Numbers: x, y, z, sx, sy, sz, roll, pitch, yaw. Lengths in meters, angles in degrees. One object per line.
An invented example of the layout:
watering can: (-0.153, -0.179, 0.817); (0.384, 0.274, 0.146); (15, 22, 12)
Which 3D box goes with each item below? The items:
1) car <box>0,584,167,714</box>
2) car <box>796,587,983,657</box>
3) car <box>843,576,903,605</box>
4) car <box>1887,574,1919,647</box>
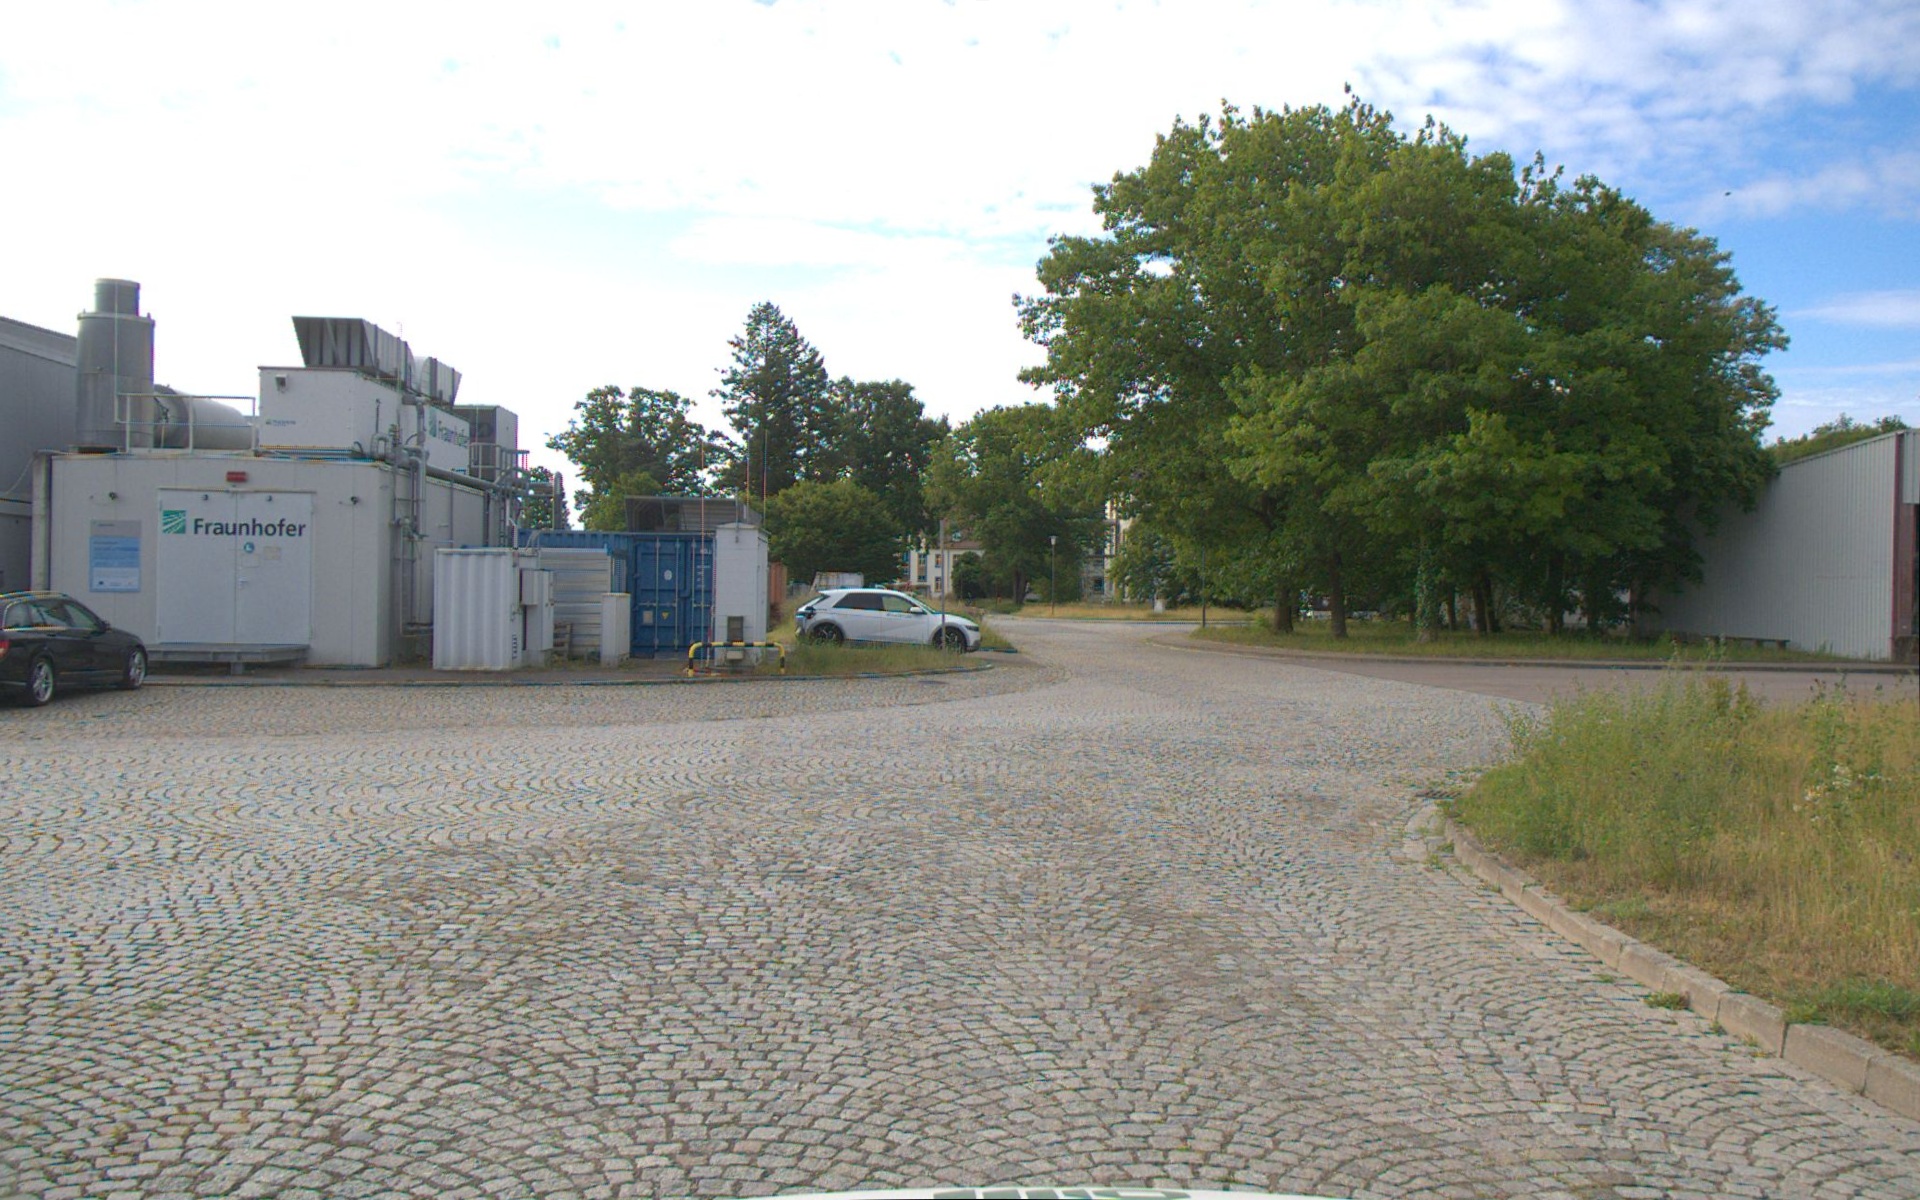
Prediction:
car: (-12.762, 0.579, 22.483); (1.996, 1.478, 4.527); (0, 2, -3)
car: (-1.683, 0.514, 40.274); (4.442, 1.627, 2.000); (0, 0, -1)
car: (-7.458, -0.810, 141.634); (5.068, 2.378, 1.998); (0, 0, -4)
car: (27.964, 0.297, 44.985); (2.197, 2.049, 5.332); (0, 0, -4)
